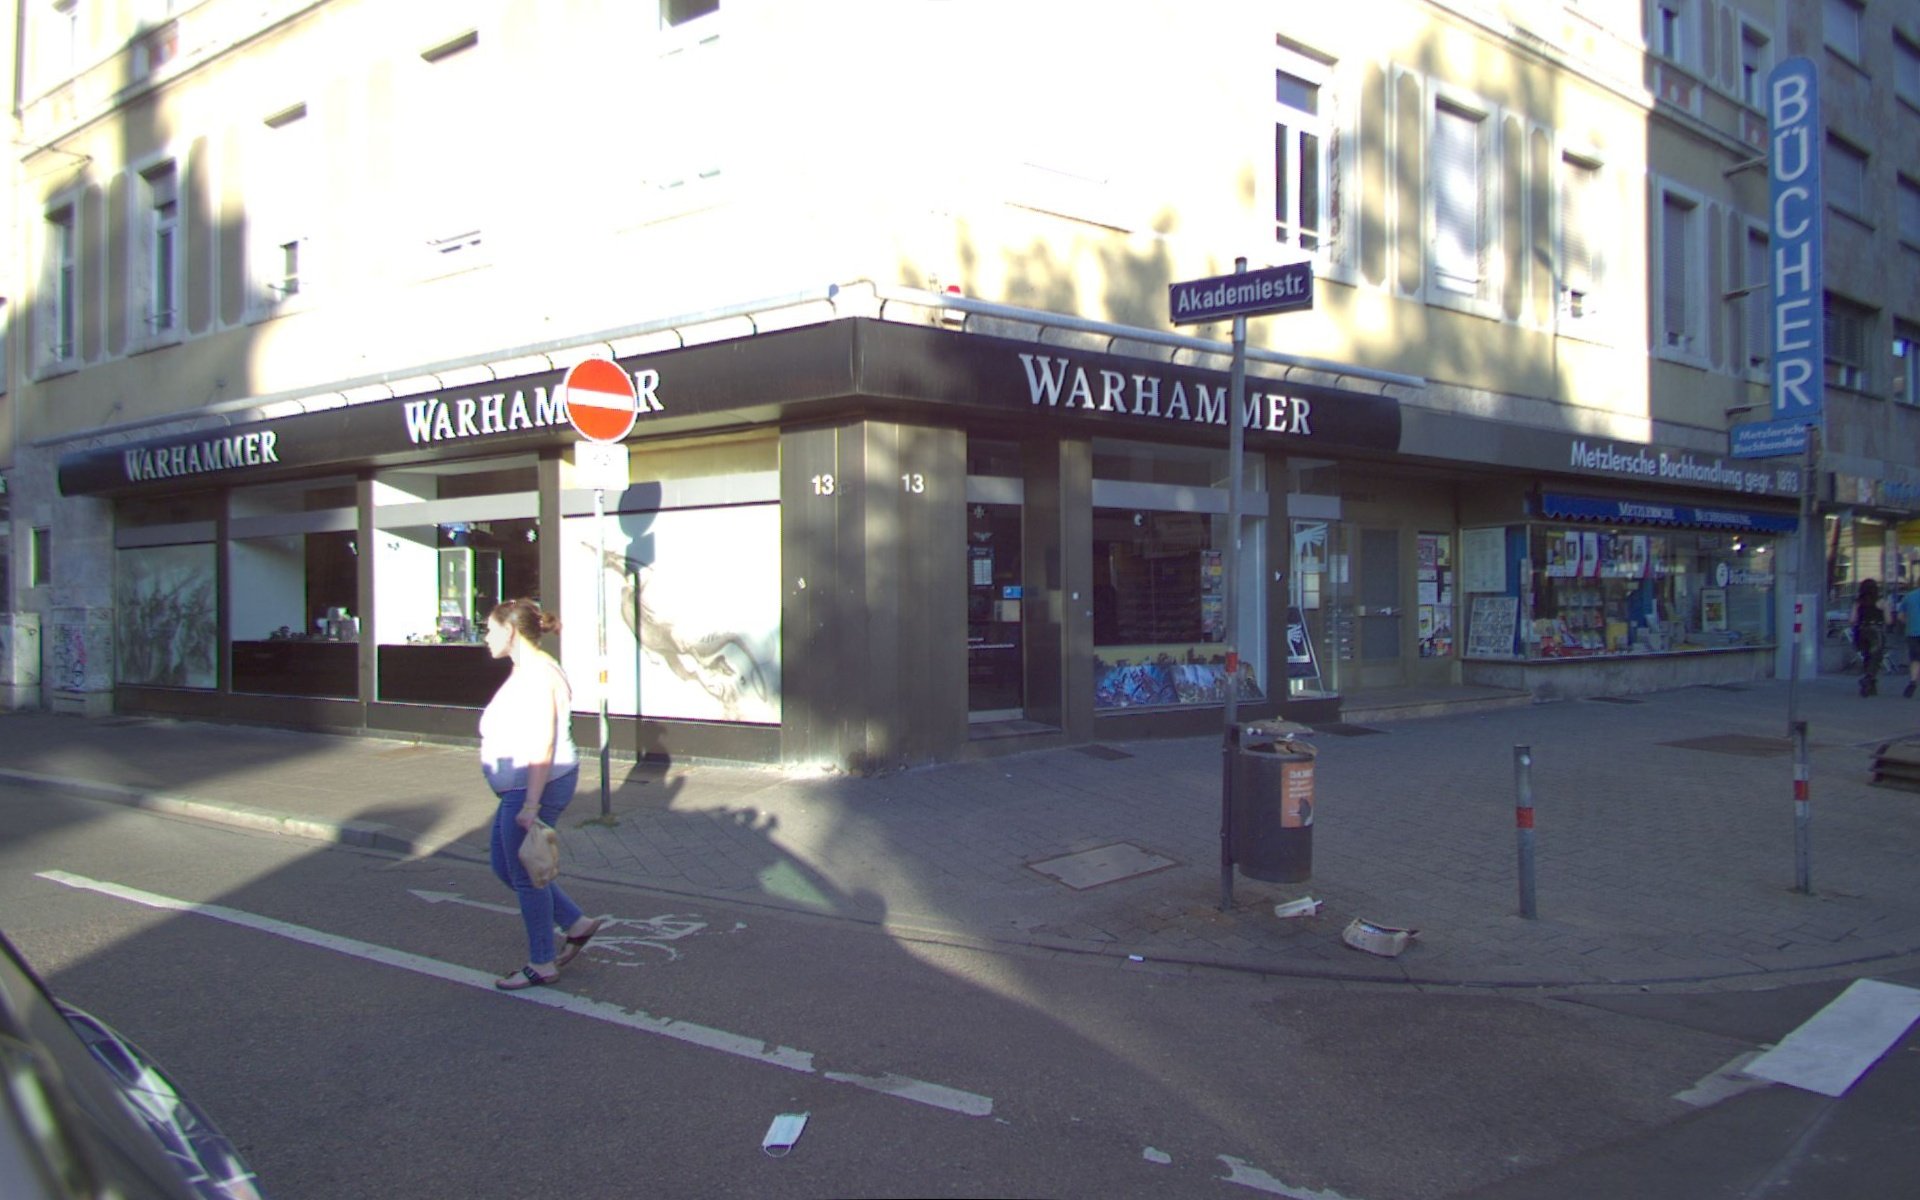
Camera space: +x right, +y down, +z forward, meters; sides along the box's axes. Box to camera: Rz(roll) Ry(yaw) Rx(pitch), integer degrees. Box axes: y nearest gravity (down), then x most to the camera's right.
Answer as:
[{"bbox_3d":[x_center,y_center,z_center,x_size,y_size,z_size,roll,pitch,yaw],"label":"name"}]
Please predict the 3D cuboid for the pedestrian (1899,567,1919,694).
[{"bbox_3d":[13.433,0.410,13.834,0.789,1.720,0.667,-1,0,-31],"label":"pedestrian"}]

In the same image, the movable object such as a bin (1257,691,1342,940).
[{"bbox_3d":[1.582,0.981,4.739,0.353,1.071,0.358,-1,0,18],"label":"movable object such as a bin"}]

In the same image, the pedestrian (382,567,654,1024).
[{"bbox_3d":[-1.702,0.698,4.018,0.724,1.625,0.805,-1,0,-1],"label":"pedestrian"}]

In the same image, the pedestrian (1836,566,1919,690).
[{"bbox_3d":[13.101,0.384,14.448,0.789,1.720,0.667,-1,0,-31],"label":"pedestrian"}]
